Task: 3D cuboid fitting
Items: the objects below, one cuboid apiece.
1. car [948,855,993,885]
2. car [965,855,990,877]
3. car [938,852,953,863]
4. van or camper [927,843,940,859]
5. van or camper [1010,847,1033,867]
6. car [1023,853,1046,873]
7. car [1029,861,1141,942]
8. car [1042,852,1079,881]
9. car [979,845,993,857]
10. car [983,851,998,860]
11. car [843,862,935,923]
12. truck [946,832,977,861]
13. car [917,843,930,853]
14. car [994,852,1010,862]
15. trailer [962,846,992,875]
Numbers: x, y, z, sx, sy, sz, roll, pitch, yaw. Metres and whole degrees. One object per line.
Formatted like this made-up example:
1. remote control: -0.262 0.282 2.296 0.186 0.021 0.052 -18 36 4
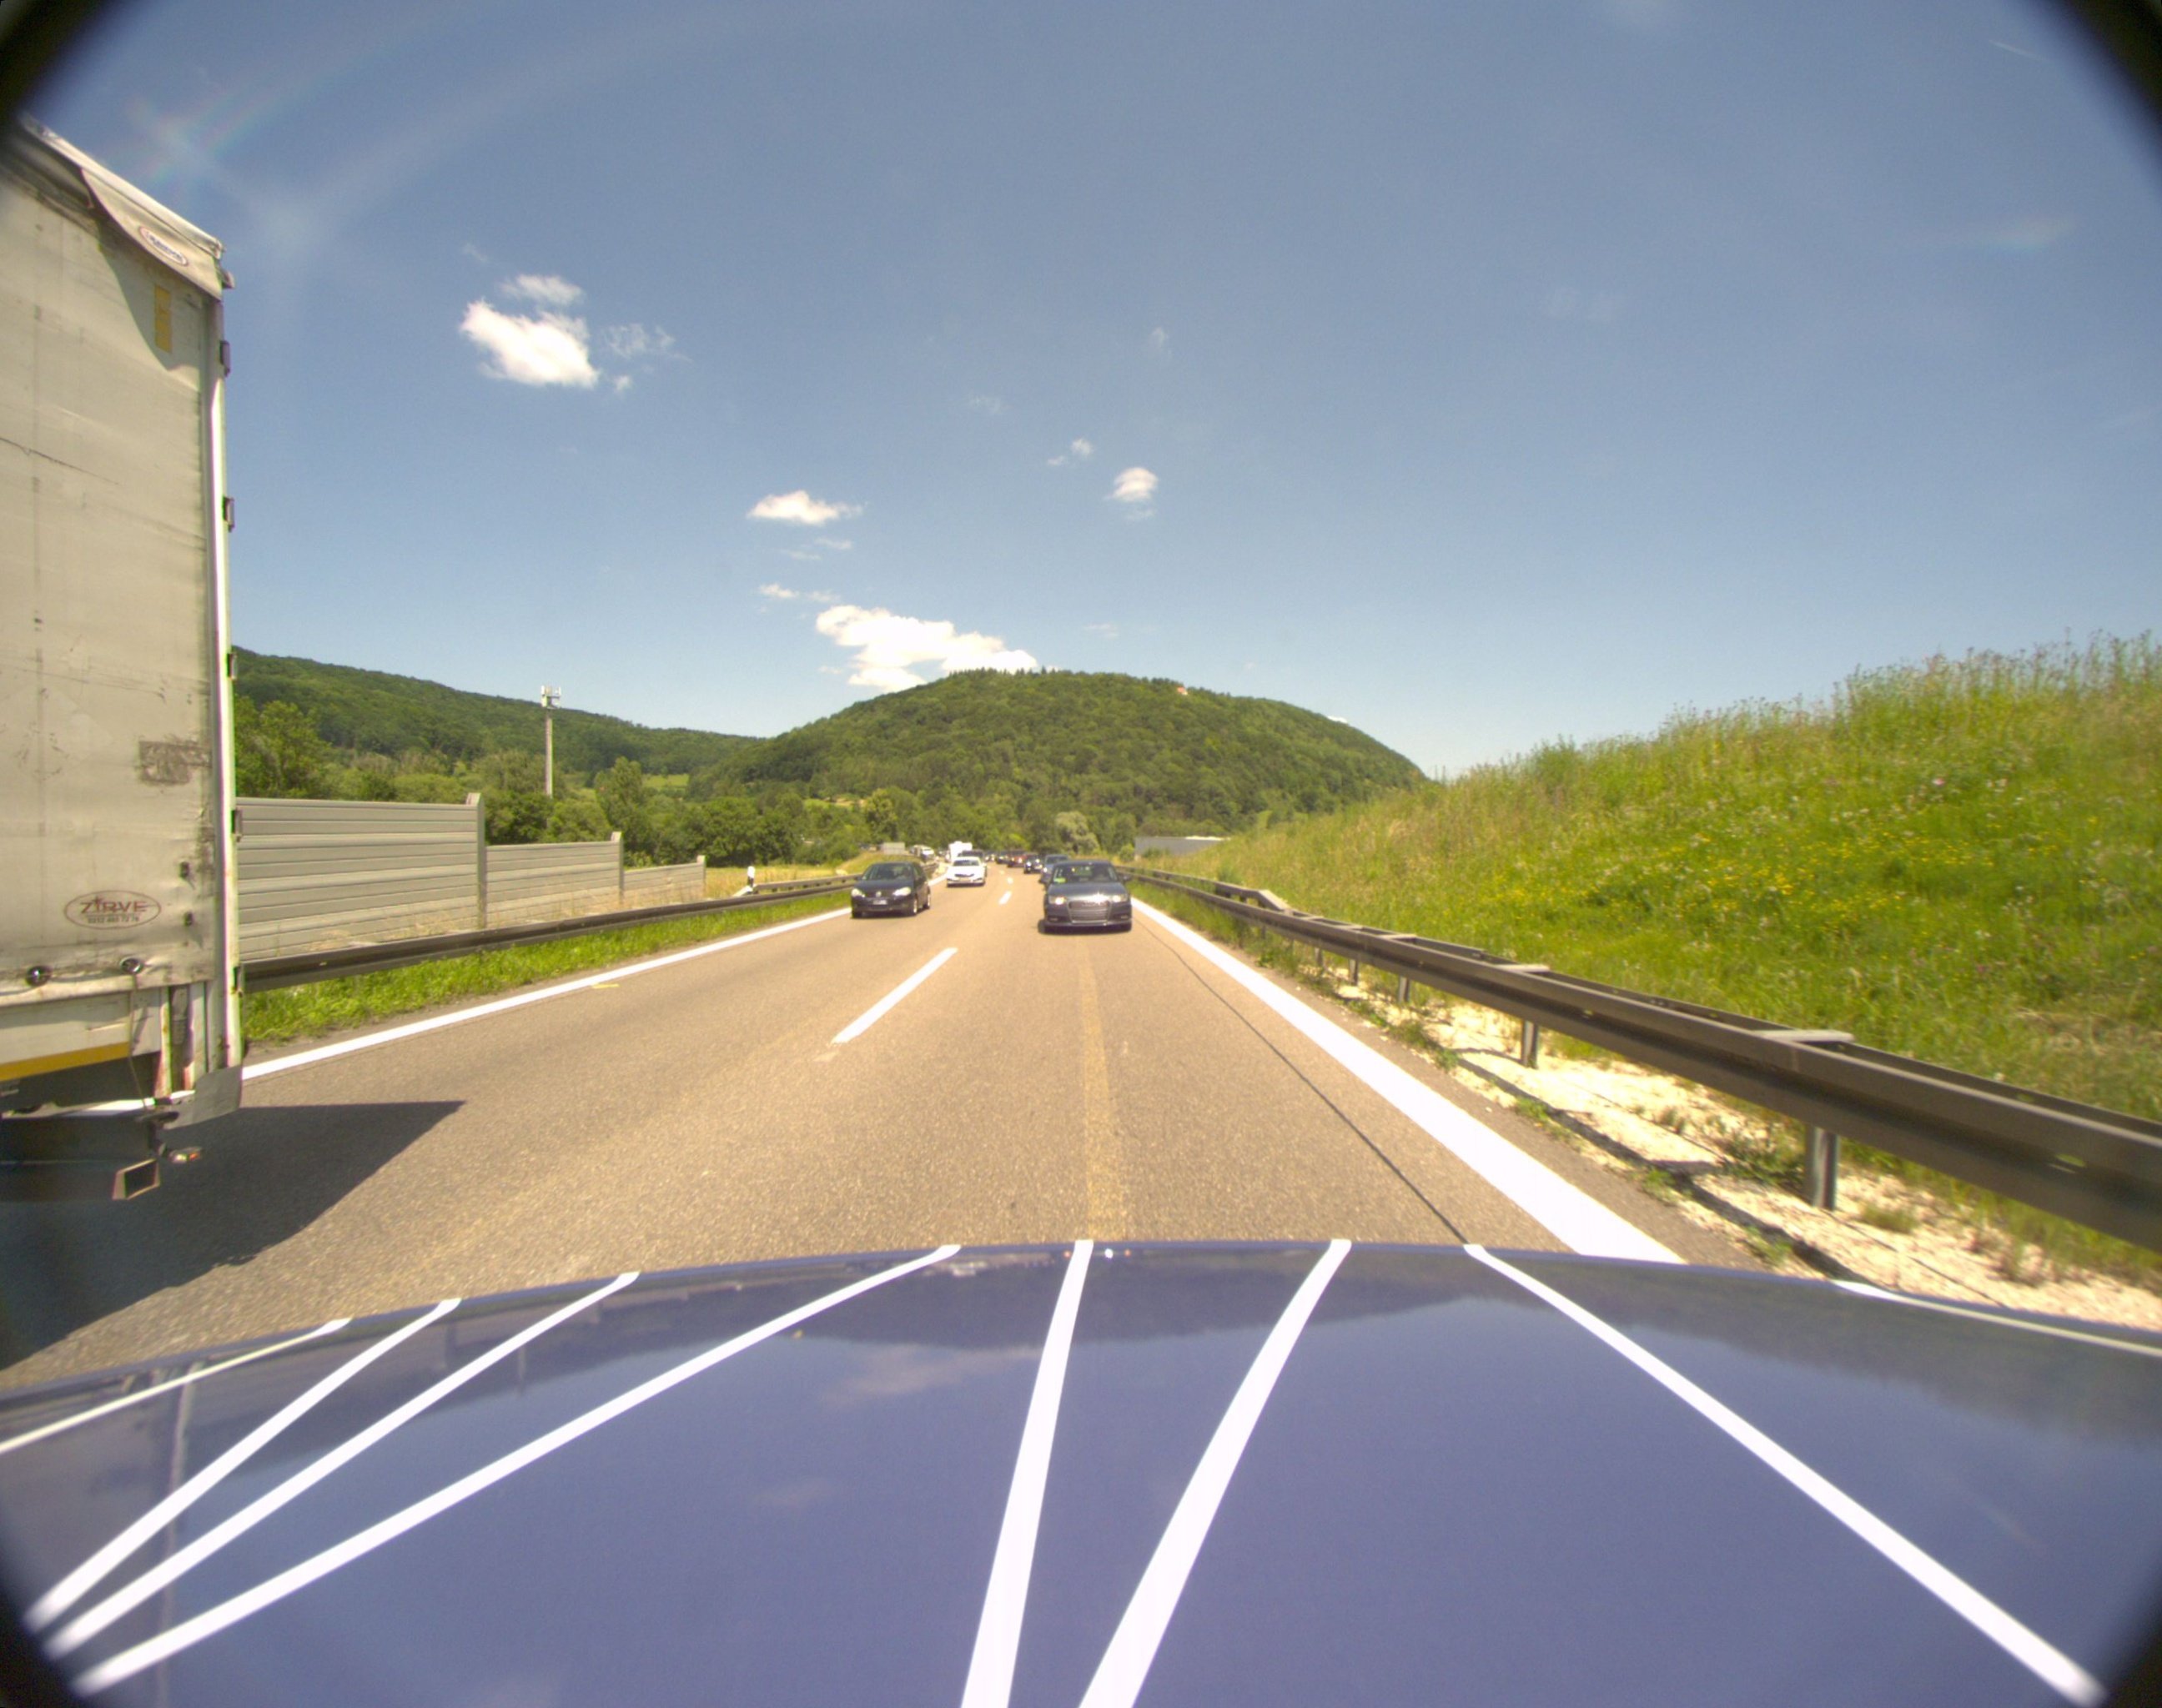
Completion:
1. car: -5.525 0.763 38.409 1.908 1.422 3.721 -1 0 -3
2. car: -6.848 0.789 50.472 1.489 1.375 3.736 1 0 -5
3. car: -18.982 0.482 106.603 1.700 1.523 3.675 -4 1 -15
4. van or camper: -27.522 -0.554 141.837 1.912 3.010 4.867 -1 1 -17
5. van or camper: -5.828 0.293 74.387 1.819 1.855 3.610 -2 1 -10
6. car: -3.471 0.645 56.571 1.287 1.305 3.449 -2 1 -10
7. car: -0.054 0.880 15.840 1.756 1.382 4.052 -2 0 -7
8. car: -1.135 0.638 40.237 1.696 1.422 3.461 -2 0 -6
9. car: -14.814 -0.455 117.963 1.532 1.628 3.414 -4 1 -16
10. car: -12.046 0.240 101.250 1.492 1.102 3.210 -3 1 -14
11. car: -5.136 0.975 20.782 1.696 1.414 3.837 -2 0 -3
12. truck: -14.021 -0.802 88.776 2.606 3.089 6.849 -4 1 -16
13. car: -31.191 -1.149 150.377 2.001 2.002 3.994 -3 1 -16
14. car: -9.182 0.366 88.422 1.492 1.102 3.210 -2 1 -11
15. trailer: -7.439 0.466 54.238 2.000 1.958 3.997 0 0 -9
